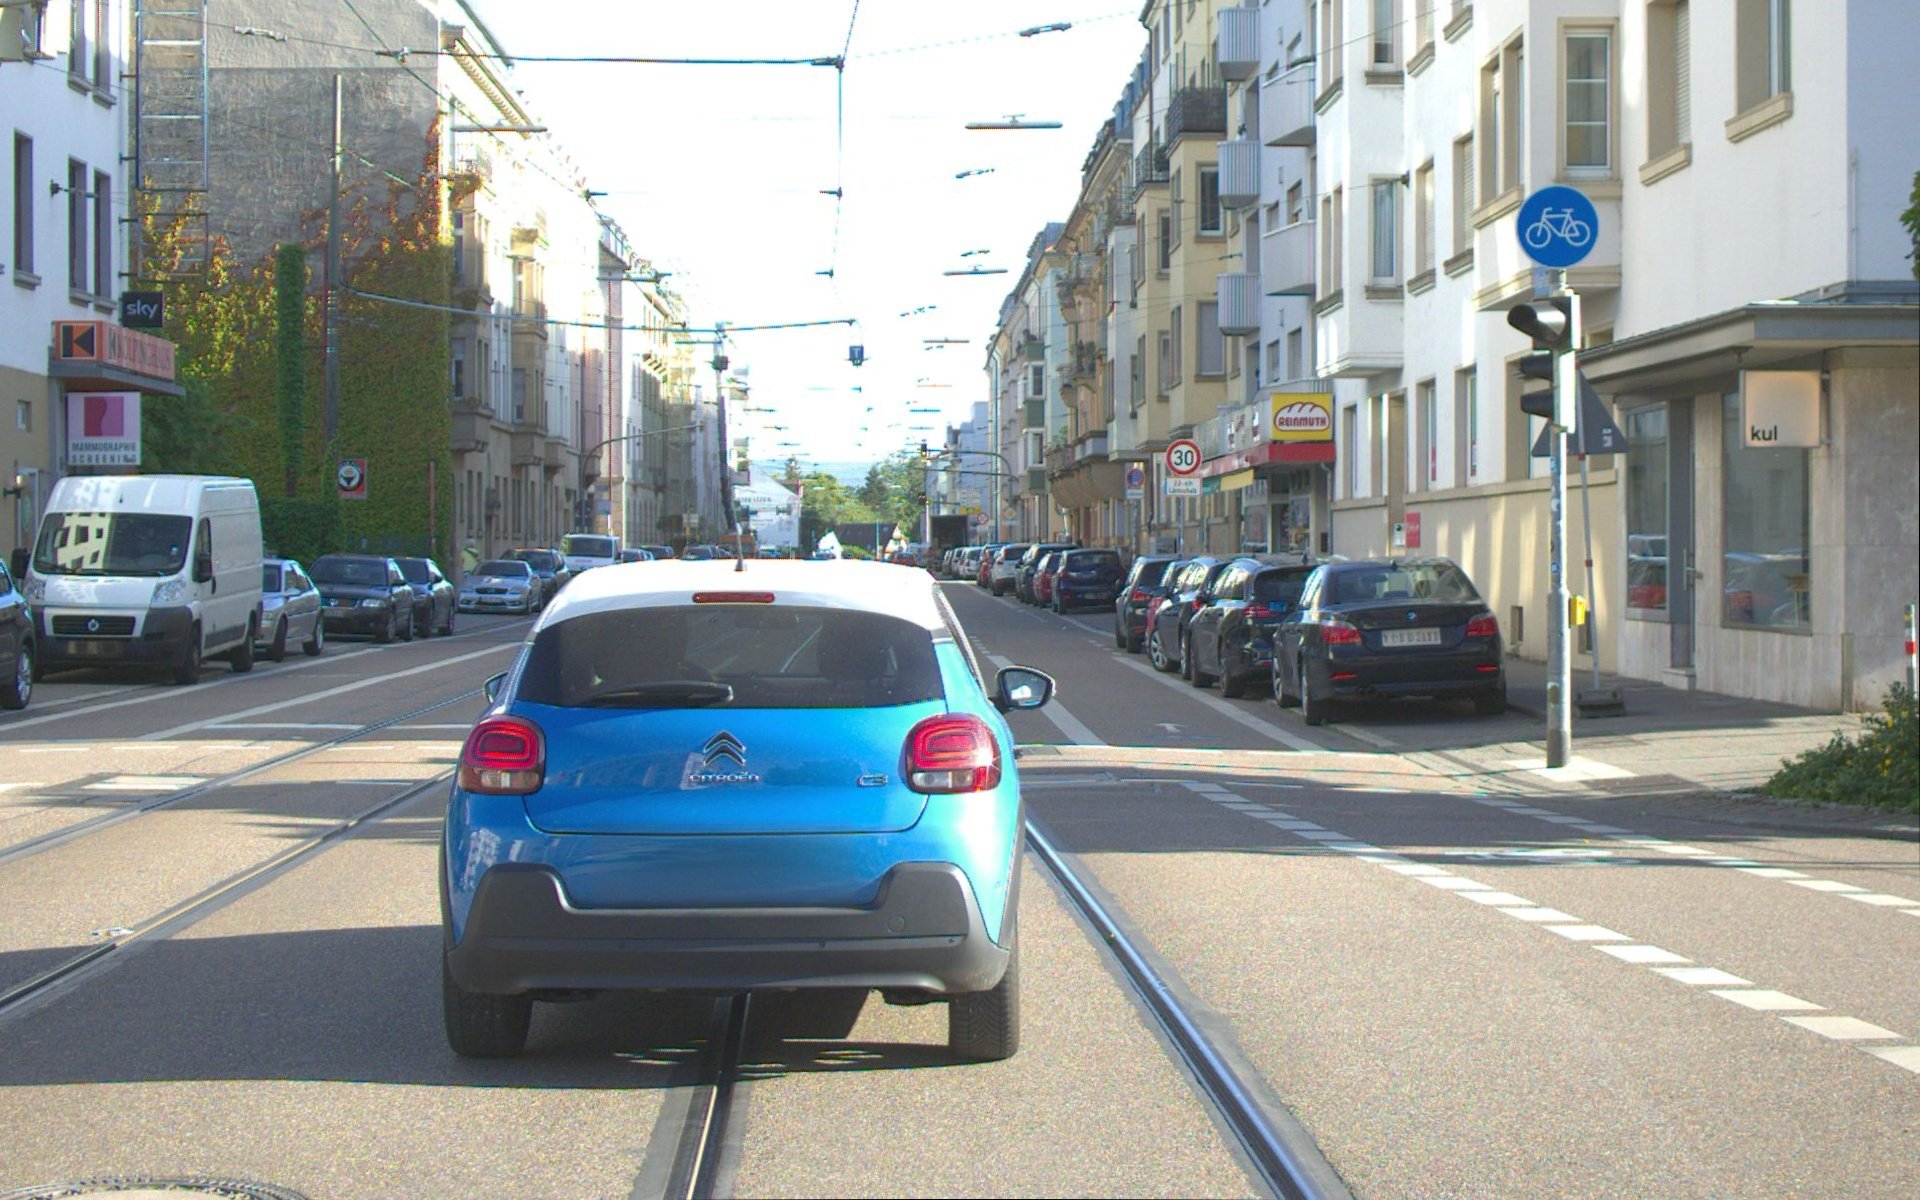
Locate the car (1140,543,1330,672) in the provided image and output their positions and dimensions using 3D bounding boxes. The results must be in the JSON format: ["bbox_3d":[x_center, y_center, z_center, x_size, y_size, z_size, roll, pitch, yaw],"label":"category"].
[{"bbox_3d":[3.310,0.056,42.121,1.993,1.496,4.000,0,1,0],"label":"car"}]

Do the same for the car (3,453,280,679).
[{"bbox_3d":[-9.916,-0.435,42.176,2.085,2.533,6.206,1,1,-2],"label":"car"}]

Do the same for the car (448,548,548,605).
[{"bbox_3d":[-11.094,-0.566,82.793,1.993,1.320,3.923,1,0,-2],"label":"car"}]

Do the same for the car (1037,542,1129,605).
[{"bbox_3d":[2.888,-0.647,81.353,1.993,1.459,4.504,0,1,0],"label":"car"}]

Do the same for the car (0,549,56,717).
[{"bbox_3d":[-9.919,0.271,31.824,1.993,1.563,4.403,3,0,-2],"label":"car"}]

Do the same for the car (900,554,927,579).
[{"bbox_3d":[-3.433,-2.470,253.823,1.993,1.766,4.000,0,1,-1],"label":"car"}]

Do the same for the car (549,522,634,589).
[{"bbox_3d":[-11.341,-1.363,106.093,2.006,2.007,4.689,1,0,1],"label":"car"}]

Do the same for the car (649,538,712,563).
[{"bbox_3d":[-13.346,-2.372,164.215,1.994,1.152,4.513,0,1,9],"label":"car"}]

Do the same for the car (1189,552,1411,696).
[{"bbox_3d":[3.621,0.222,37.216,1.993,1.459,4.000,0,1,0],"label":"car"}]

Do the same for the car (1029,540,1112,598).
[{"bbox_3d":[2.840,-0.813,89.172,1.993,1.459,4.000,0,1,0],"label":"car"}]

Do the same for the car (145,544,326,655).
[{"bbox_3d":[-10.222,-0.022,48.724,1.888,1.491,3.562,1,0,-2],"label":"car"}]

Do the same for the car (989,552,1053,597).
[{"bbox_3d":[1.984,-0.857,112.687,1.993,1.459,4.000,0,1,0],"label":"car"}]

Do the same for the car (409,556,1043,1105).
[{"bbox_3d":[-0.678,0.613,11.390,1.728,1.477,3.827,1,1,-1],"label":"car"}]

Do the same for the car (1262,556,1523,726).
[{"bbox_3d":[3.938,0.334,31.923,1.909,1.459,4.000,0,1,0],"label":"car"}]

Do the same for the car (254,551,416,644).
[{"bbox_3d":[-10.412,-0.052,57.545,1.993,1.393,4.157,3,0,-2],"label":"car"}]

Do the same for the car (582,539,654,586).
[{"bbox_3d":[-11.603,-1.257,116.778,1.955,1.547,3.938,1,0,1],"label":"car"}]

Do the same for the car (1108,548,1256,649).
[{"bbox_3d":[3.337,-0.051,52.385,1.993,1.459,4.000,0,1,0],"label":"car"}]
